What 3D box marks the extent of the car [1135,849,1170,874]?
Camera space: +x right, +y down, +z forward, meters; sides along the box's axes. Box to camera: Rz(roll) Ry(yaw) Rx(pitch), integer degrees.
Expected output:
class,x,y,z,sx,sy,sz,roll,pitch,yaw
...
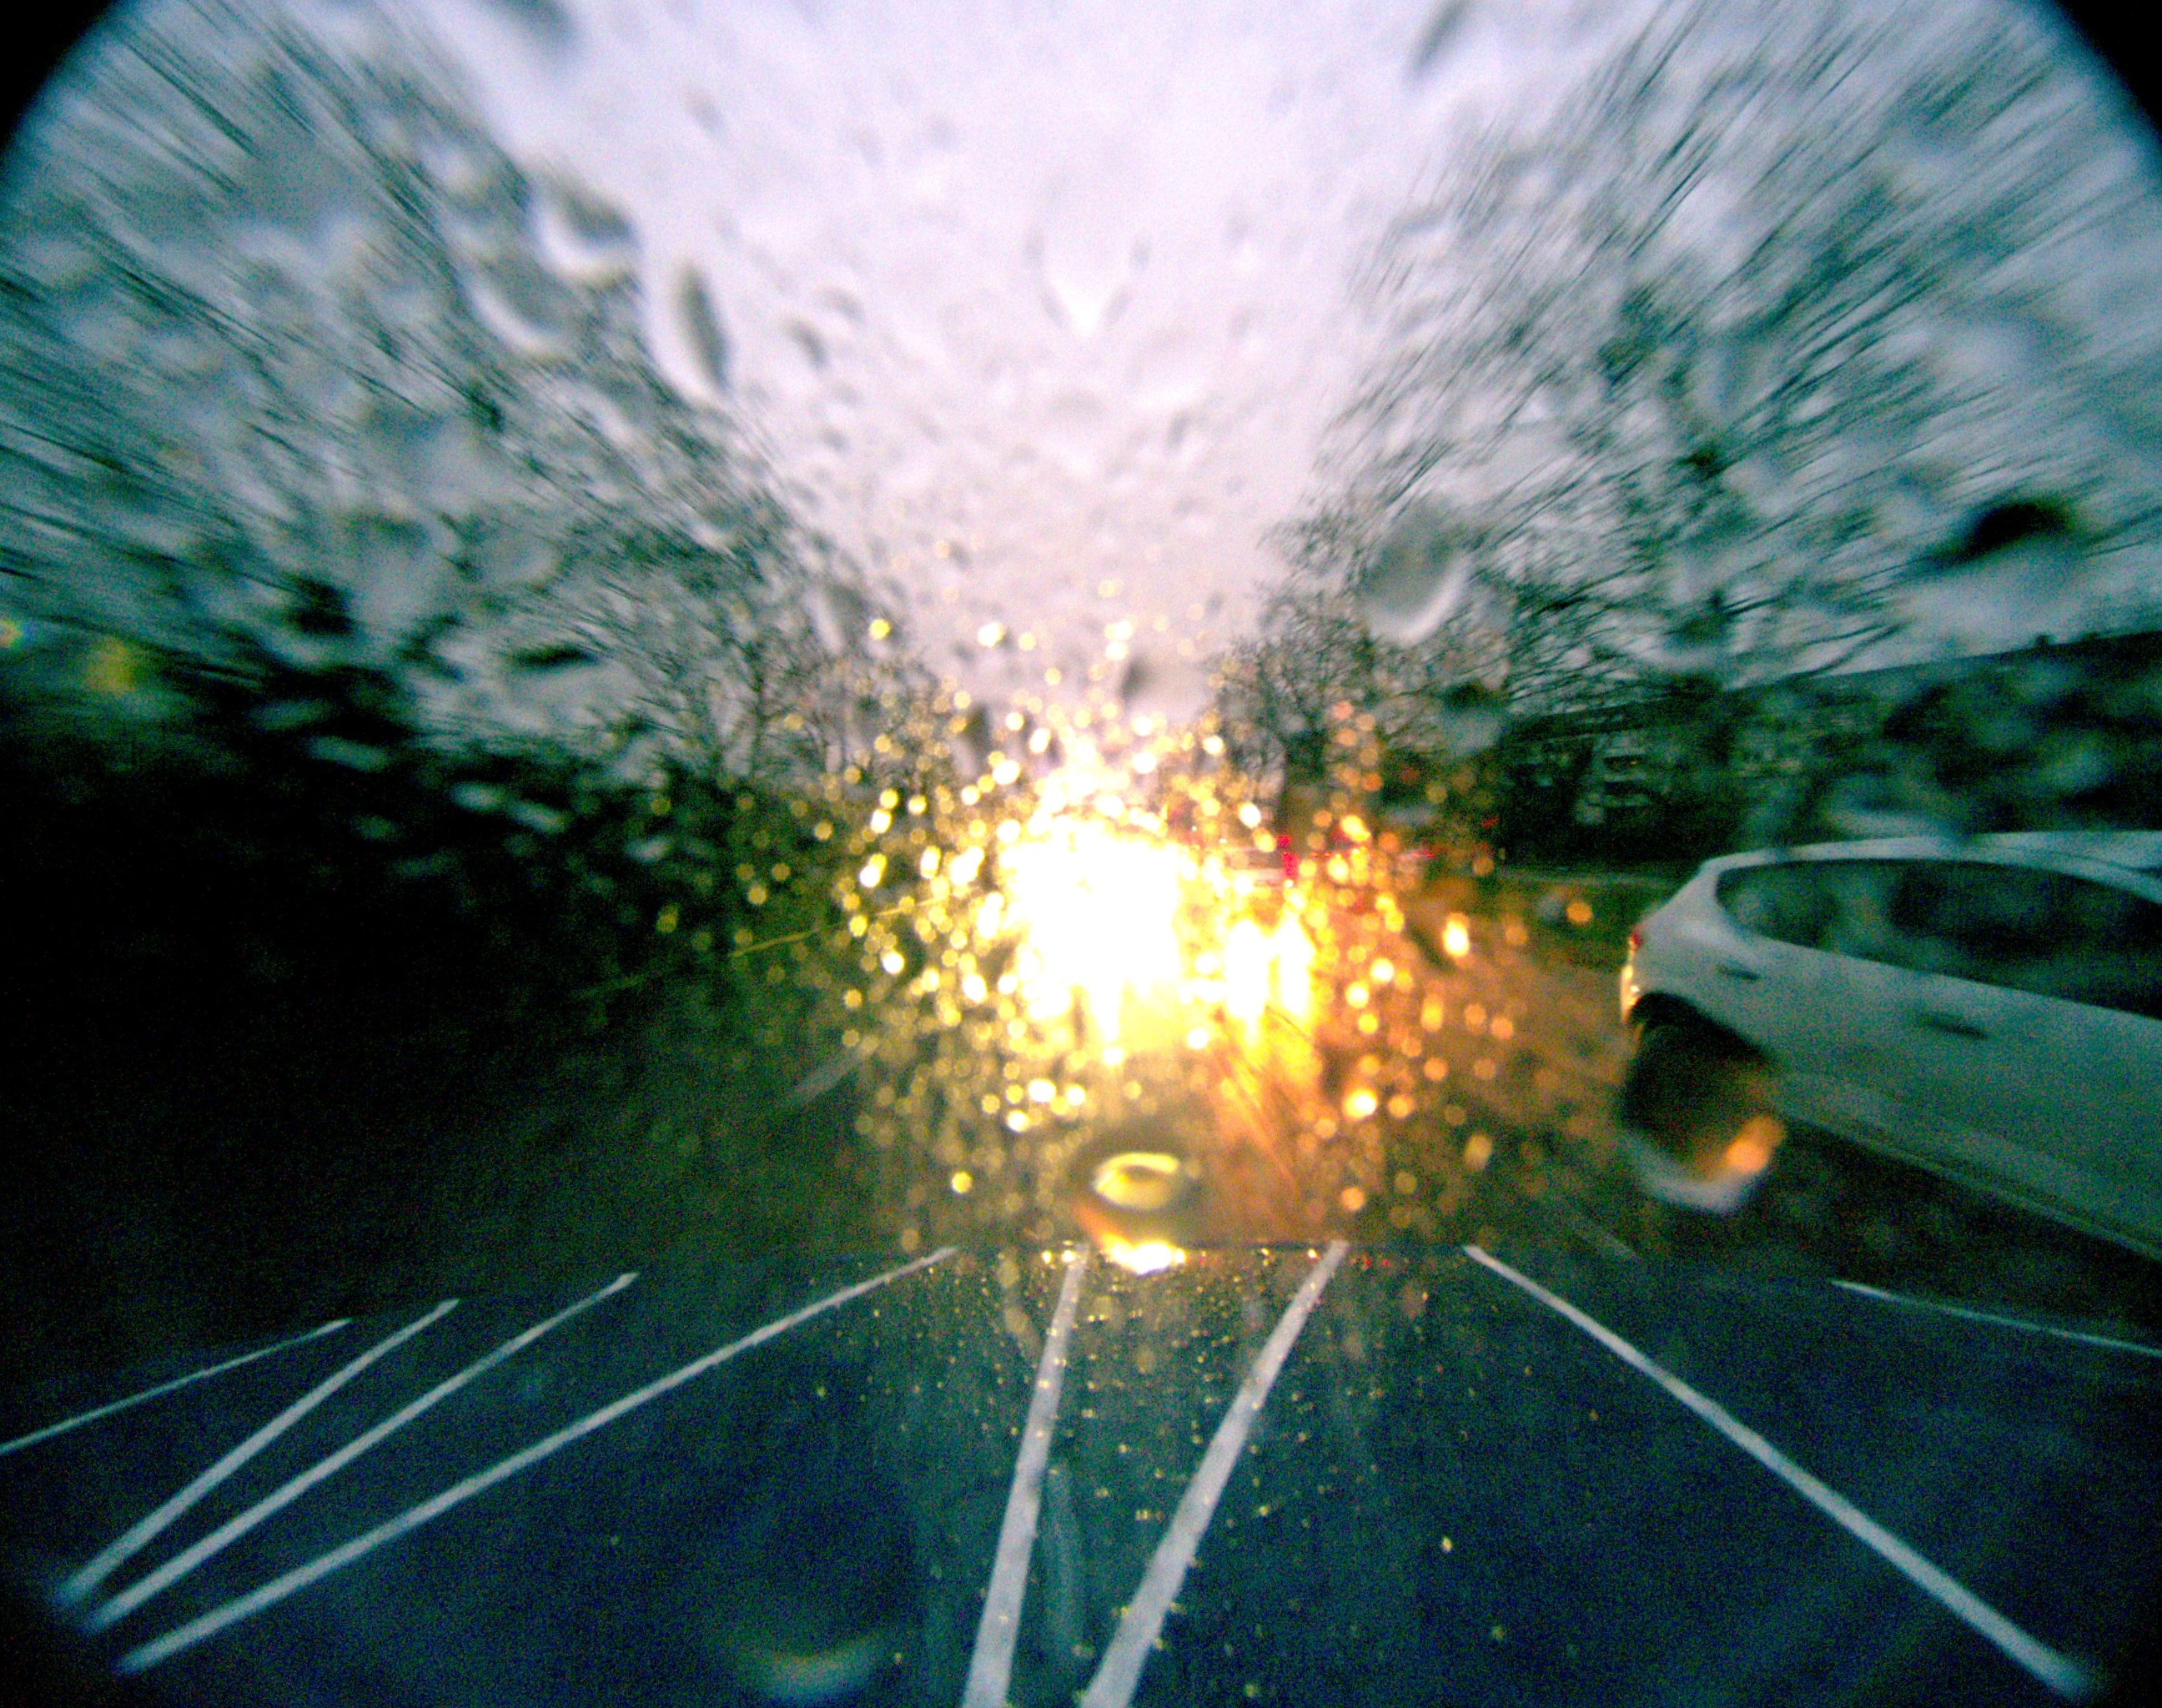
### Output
class,x,y,z,sx,sy,sz,roll,pitch,yaw
car,4.772,0.478,51.162,2.026,1.522,4.145,0,1,1

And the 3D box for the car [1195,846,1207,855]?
class,x,y,z,sx,sy,sz,roll,pitch,yaw
car,22.605,-0.674,143.362,1.573,1.495,4.000,-2,1,2

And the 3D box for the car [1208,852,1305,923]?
class,x,y,z,sx,sy,sz,roll,pitch,yaw
car,4.443,0.789,19.804,1.765,1.590,4.165,0,1,3

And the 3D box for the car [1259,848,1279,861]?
class,x,y,z,sx,sy,sz,roll,pitch,yaw
car,23.764,0.057,96.229,1.653,1.491,3.956,0,1,2

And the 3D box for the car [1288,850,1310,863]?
class,x,y,z,sx,sy,sz,roll,pitch,yaw
car,28.207,0.305,98.243,1.722,1.480,4.272,0,1,2

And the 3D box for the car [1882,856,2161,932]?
class,x,y,z,sx,sy,sz,roll,pitch,yaw
car,20.724,0.796,16.865,1.753,1.417,3.977,0,1,2

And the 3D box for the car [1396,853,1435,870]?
class,x,y,z,sx,sy,sz,roll,pitch,yaw
car,29.593,0.676,67.321,1.752,1.387,4.300,0,1,4

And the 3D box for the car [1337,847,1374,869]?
class,x,y,z,sx,sy,sz,roll,pitch,yaw
car,21.837,0.282,60.578,1.621,1.672,3.981,0,0,2

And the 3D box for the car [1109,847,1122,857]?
class,x,y,z,sx,sy,sz,roll,pitch,yaw
car,5.631,-0.348,123.944,1.852,1.610,3.951,-2,1,1

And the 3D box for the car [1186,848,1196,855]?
class,x,y,z,sx,sy,sz,roll,pitch,yaw
car,21.602,-0.538,149.127,1.459,1.190,3.999,-2,1,1

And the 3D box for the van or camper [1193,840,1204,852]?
class,x,y,z,sx,sy,sz,roll,pitch,yaw
van or camper,25.807,-1.827,167.027,1.967,2.594,4.738,0,1,2

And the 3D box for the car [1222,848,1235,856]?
class,x,y,z,sx,sy,sz,roll,pitch,yaw
car,24.324,-0.372,125.331,1.541,1.320,3.956,0,1,2

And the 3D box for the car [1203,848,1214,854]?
class,x,y,z,sx,sy,sz,roll,pitch,yaw
car,25.543,-0.616,152.442,1.541,1.285,4.000,0,1,2

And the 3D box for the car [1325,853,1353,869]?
class,x,y,z,sx,sy,sz,roll,pitch,yaw
car,25.957,0.684,76.615,1.636,1.459,3.791,0,1,2

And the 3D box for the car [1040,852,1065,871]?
class,x,y,z,sx,sy,sz,roll,pitch,yaw
car,-2.234,0.565,60.405,1.728,1.426,3.790,0,1,2

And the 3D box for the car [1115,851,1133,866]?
class,x,y,z,sx,sy,sz,roll,pitch,yaw
car,4.757,0.468,85.159,1.852,1.610,3.951,-2,1,1

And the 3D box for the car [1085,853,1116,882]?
class,x,y,z,sx,sy,sz,roll,pitch,yaw
car,1.187,0.753,45.034,1.728,1.573,3.791,0,1,3

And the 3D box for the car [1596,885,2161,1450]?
class,x,y,z,sx,sy,sz,roll,pitch,yaw
car,3.861,0.922,2.369,1.728,1.432,4.226,-1,0,2

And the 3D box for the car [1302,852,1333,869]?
class,x,y,z,sx,sy,sz,roll,pitch,yaw
car,23.044,0.638,74.254,1.788,1.524,4.377,0,1,2

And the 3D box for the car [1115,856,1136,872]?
class,x,y,z,sx,sy,sz,roll,pitch,yaw
car,3.967,0.876,67.980,1.697,1.327,3.999,-2,1,1

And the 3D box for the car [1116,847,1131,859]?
class,x,y,z,sx,sy,sz,roll,pitch,yaw
car,6.073,-0.119,108.667,1.852,1.610,3.951,-2,1,1

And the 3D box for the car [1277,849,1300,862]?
class,x,y,z,sx,sy,sz,roll,pitch,yaw
car,23.213,0.114,85.114,1.653,1.346,3.956,0,1,2

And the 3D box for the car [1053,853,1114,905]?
class,x,y,z,sx,sy,sz,roll,pitch,yaw
car,0.125,0.747,24.877,1.830,1.524,4.000,0,1,2
